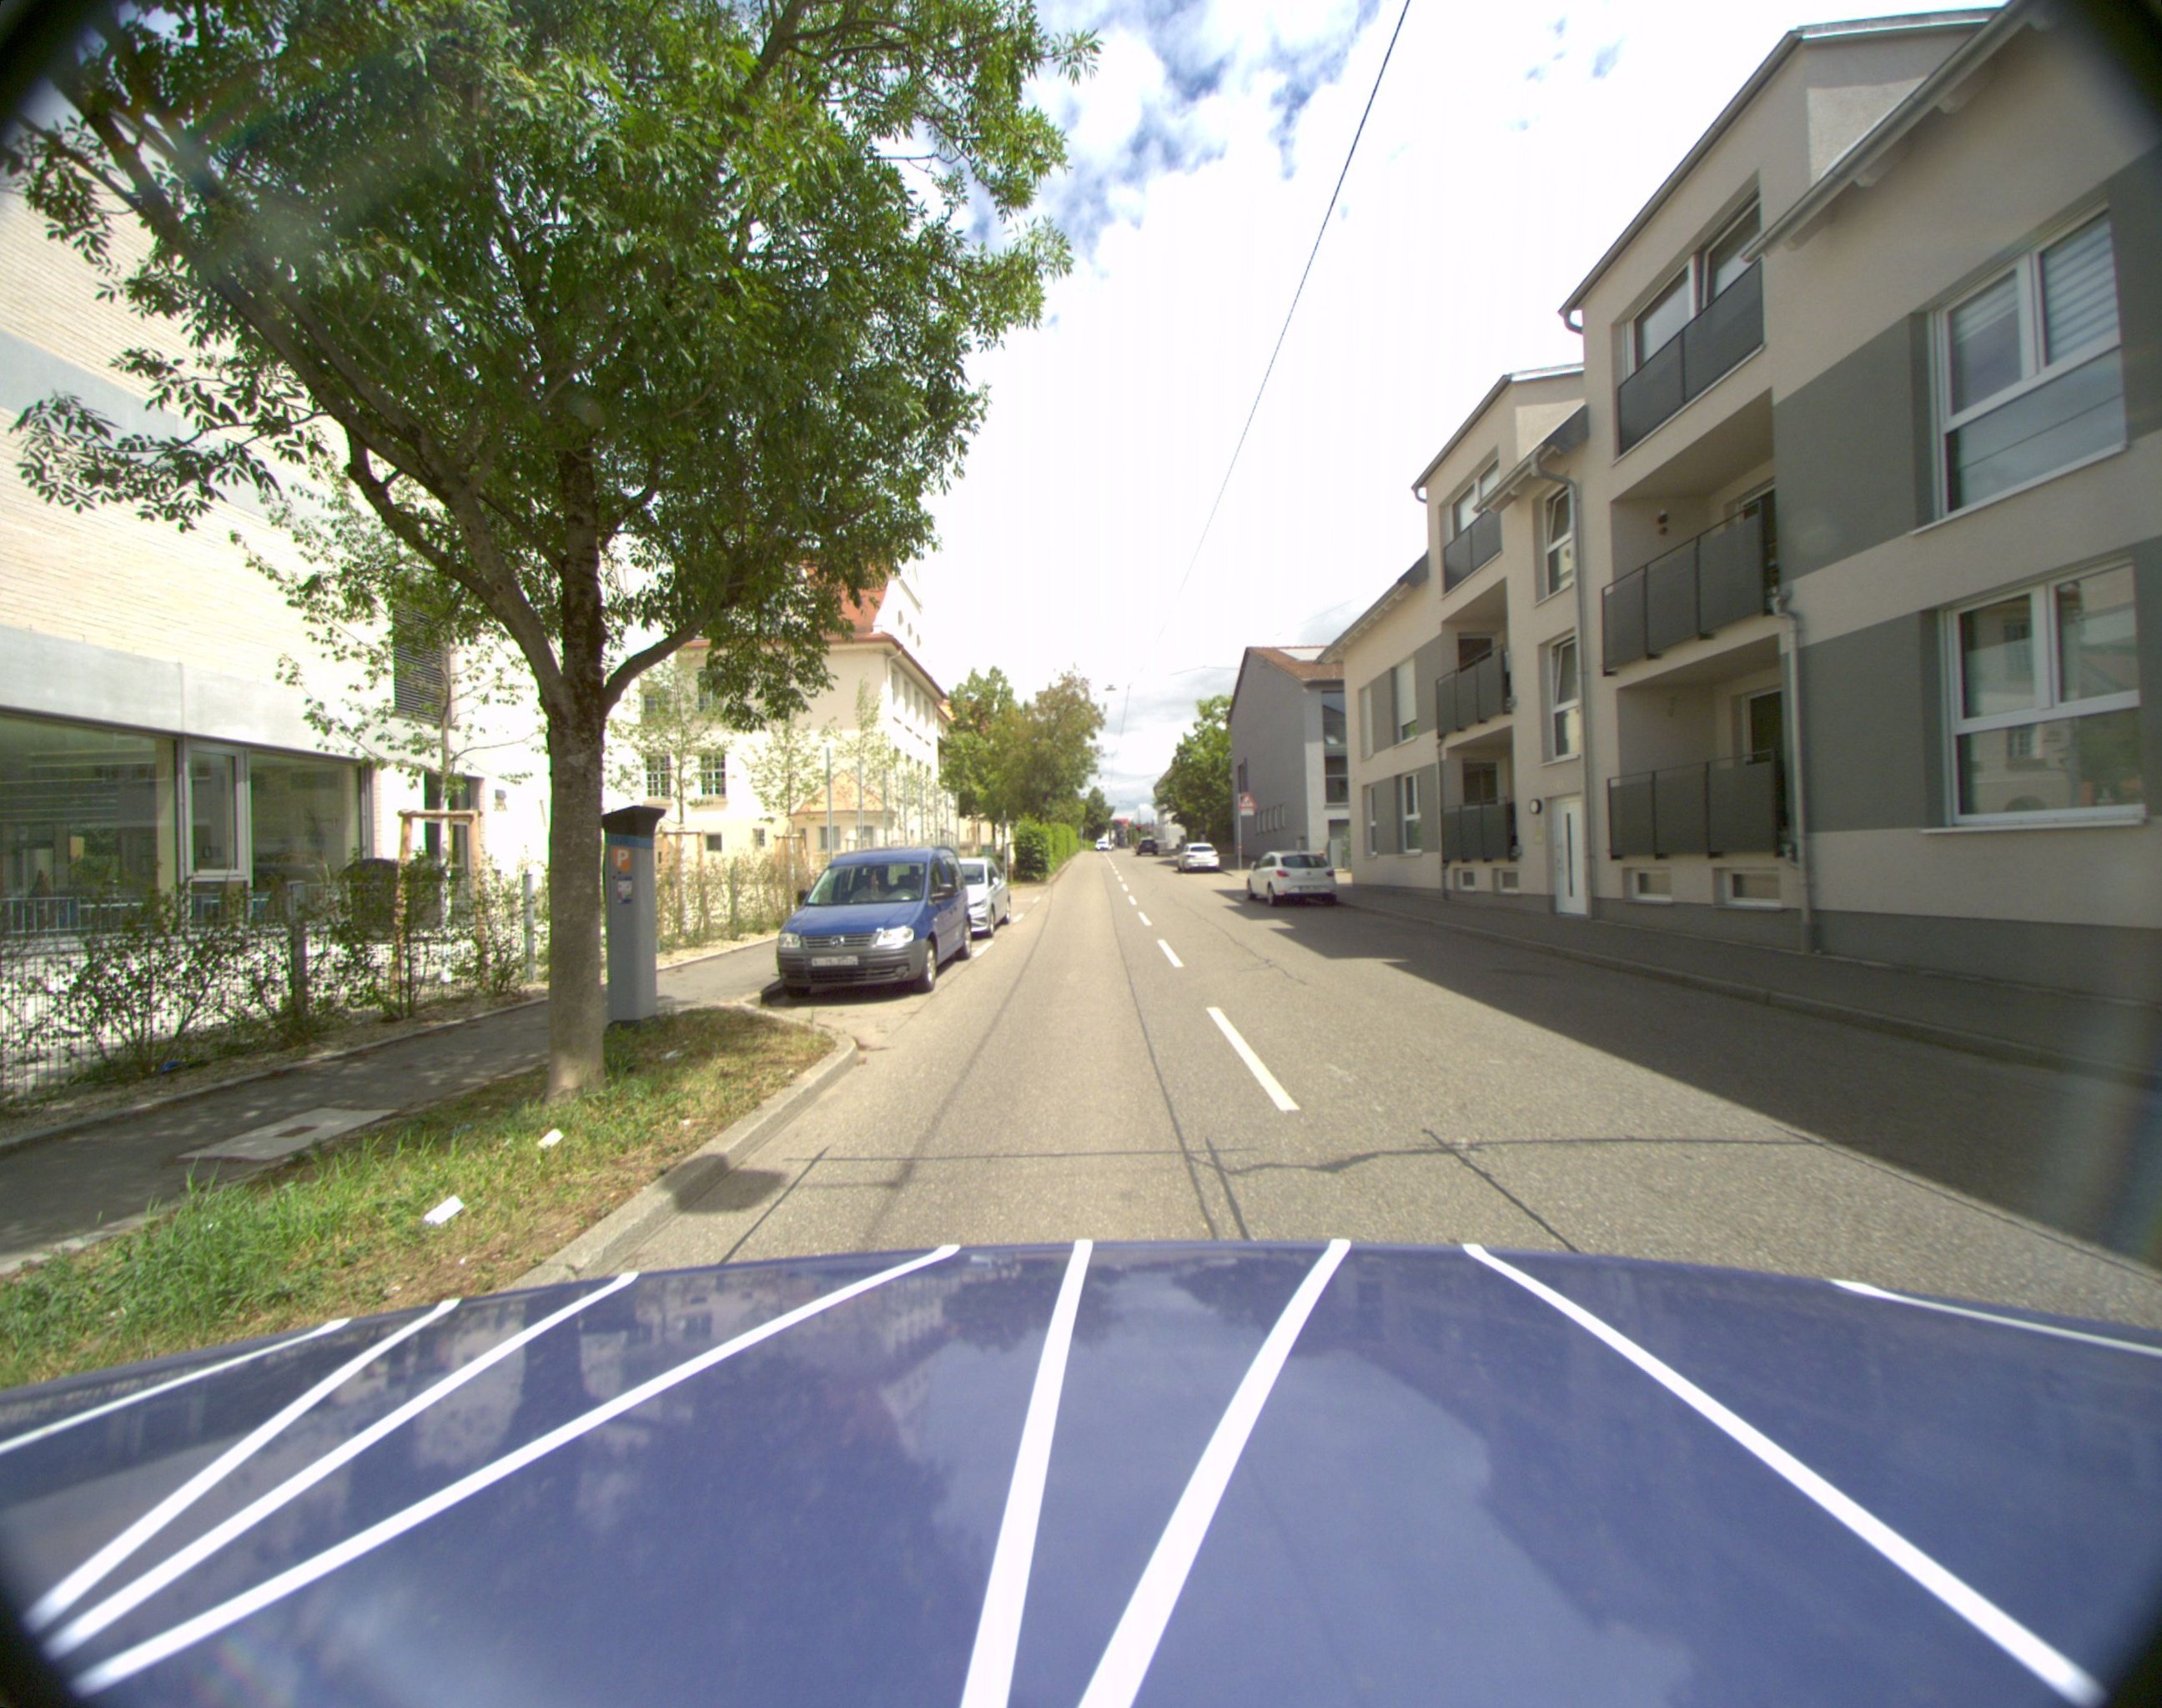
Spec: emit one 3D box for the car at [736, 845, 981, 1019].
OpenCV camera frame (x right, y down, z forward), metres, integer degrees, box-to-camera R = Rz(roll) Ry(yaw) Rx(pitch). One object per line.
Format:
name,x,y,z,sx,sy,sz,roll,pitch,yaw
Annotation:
car,-2.670,0.806,10.368,1.849,1.757,4.514,-2,1,1

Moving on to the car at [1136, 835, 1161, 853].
car,6.321,-0.955,71.757,1.800,1.601,4.644,-2,1,-1

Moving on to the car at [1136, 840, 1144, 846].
car,15.259,-2.854,195.823,1.794,1.477,4.002,-3,0,7

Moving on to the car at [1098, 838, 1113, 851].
car,3.707,-1.430,114.040,1.893,1.718,4.294,-2,1,4

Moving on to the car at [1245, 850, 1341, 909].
car,5.667,0.627,20.746,1.651,1.411,3.698,0,1,1

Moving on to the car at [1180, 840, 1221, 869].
car,6.026,0.010,38.626,1.701,1.382,3.867,-1,0,4

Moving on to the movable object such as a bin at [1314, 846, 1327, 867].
movable object such as a bin,10.610,0.119,33.663,0.455,0.924,0.399,-1,2,0

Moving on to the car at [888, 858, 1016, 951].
car,-2.514,0.934,15.913,1.790,1.500,4.364,-2,1,1
